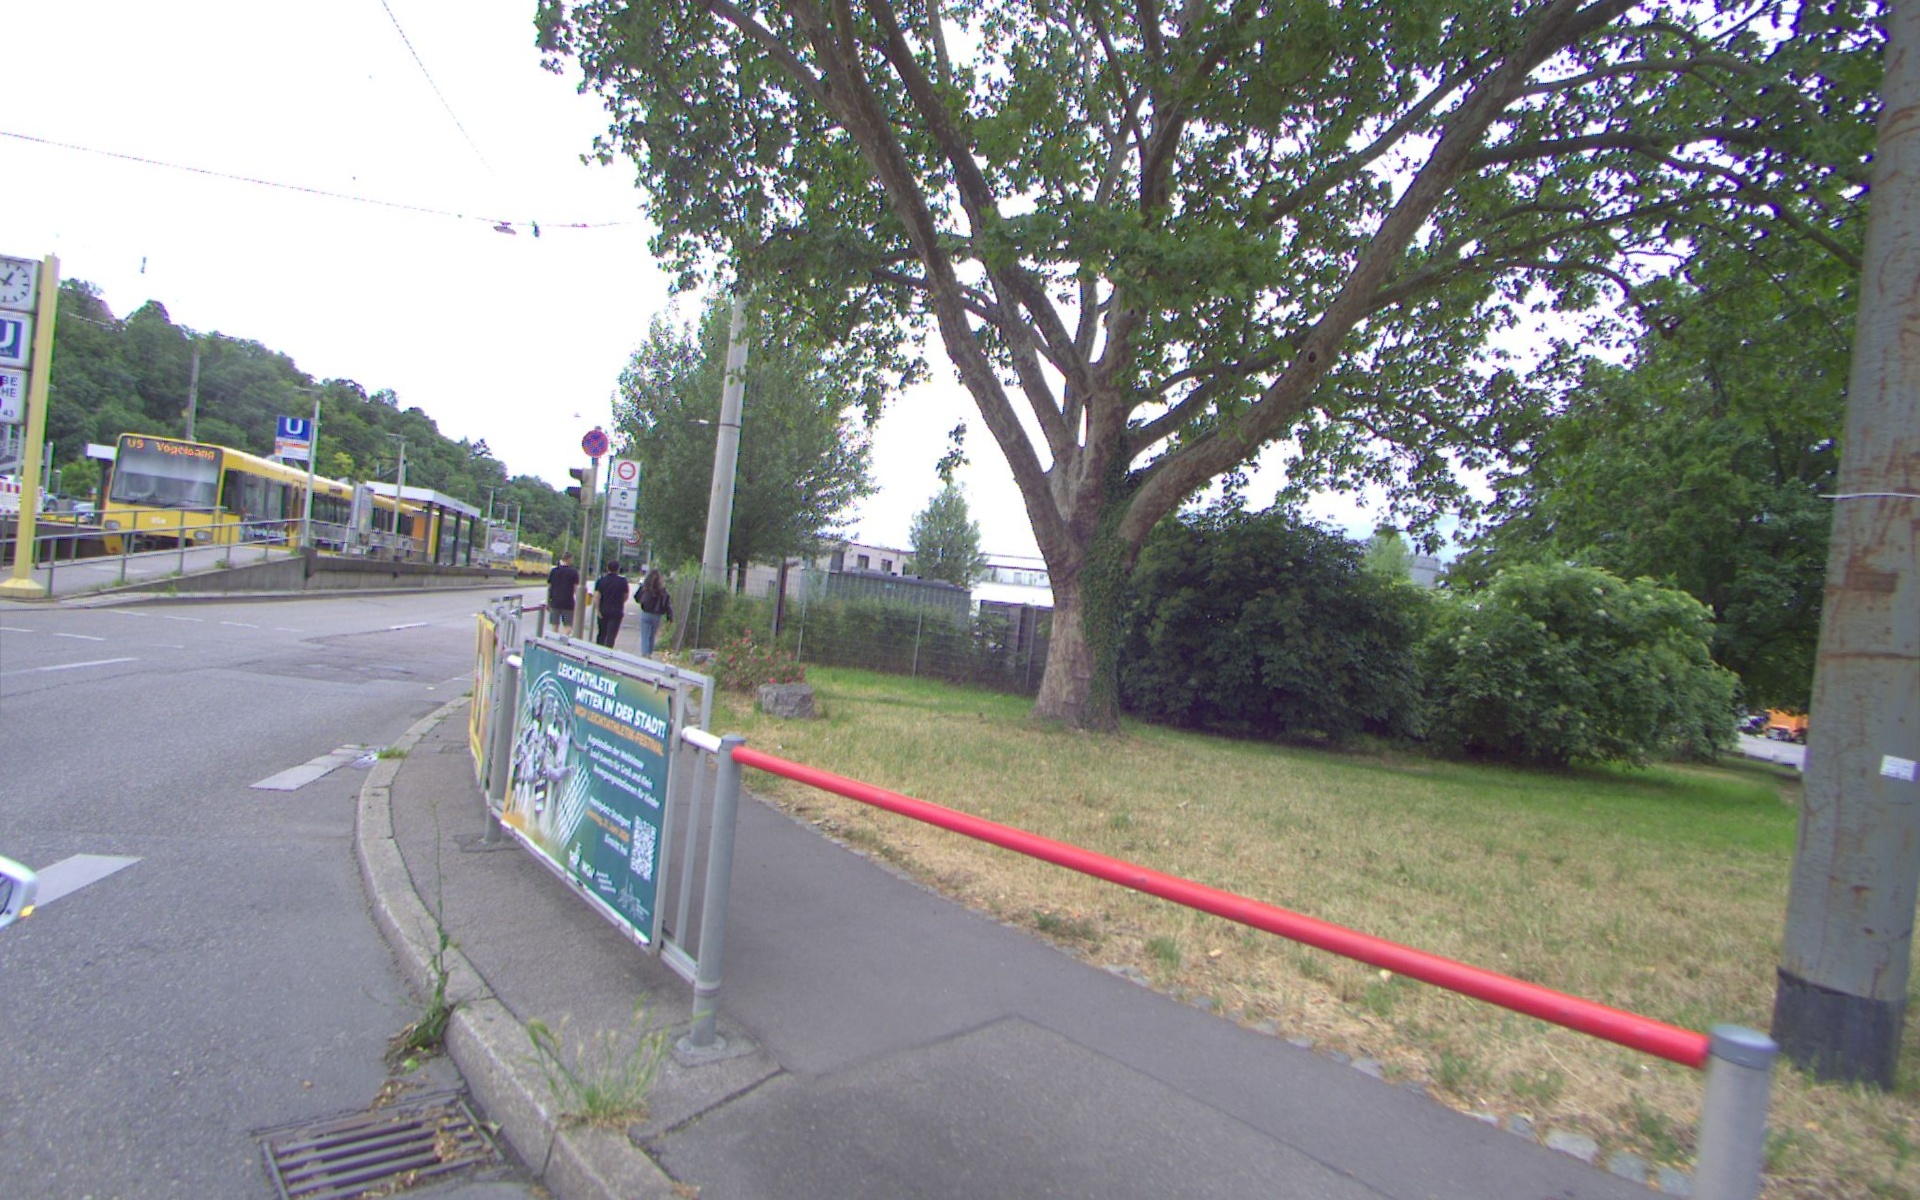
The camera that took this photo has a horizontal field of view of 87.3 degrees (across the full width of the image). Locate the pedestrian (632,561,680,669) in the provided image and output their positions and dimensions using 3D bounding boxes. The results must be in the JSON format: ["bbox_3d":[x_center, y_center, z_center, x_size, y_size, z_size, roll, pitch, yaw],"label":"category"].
[{"bbox_3d":[-5.063,0.259,16.774,0.595,1.708,0.670,6,-3,-16],"label":"pedestrian"}]

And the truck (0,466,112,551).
[{"bbox_3d":[-40.753,-3.999,43.321,2.661,3.115,8.981,6,-1,-15],"label":"truck"}]

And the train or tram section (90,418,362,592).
[{"bbox_3d":[-21.752,-2.526,30.947,2.708,4.016,11.867,6,0,-17],"label":"train or tram section"}]

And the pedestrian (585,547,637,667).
[{"bbox_3d":[-5.741,0.117,16.579,0.595,1.890,0.670,6,0,-16],"label":"pedestrian"}]

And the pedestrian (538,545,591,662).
[{"bbox_3d":[-6.739,0.076,17.167,0.595,1.888,0.670,6,-3,-16],"label":"pedestrian"}]

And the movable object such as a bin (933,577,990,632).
[{"bbox_3d":[0.122,0.284,46.715,1.961,2.035,4.304,5,-4,7],"label":"movable object such as a bin"}]

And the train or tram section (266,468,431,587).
[{"bbox_3d":[-25.243,-2.793,42.339,2.708,4.016,11.867,6,0,-17],"label":"train or tram section"}]

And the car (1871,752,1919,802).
[{"bbox_3d":[55.160,10.367,58.951,6.448,2.569,2.167,10,-5,-44],"label":"car"}]
